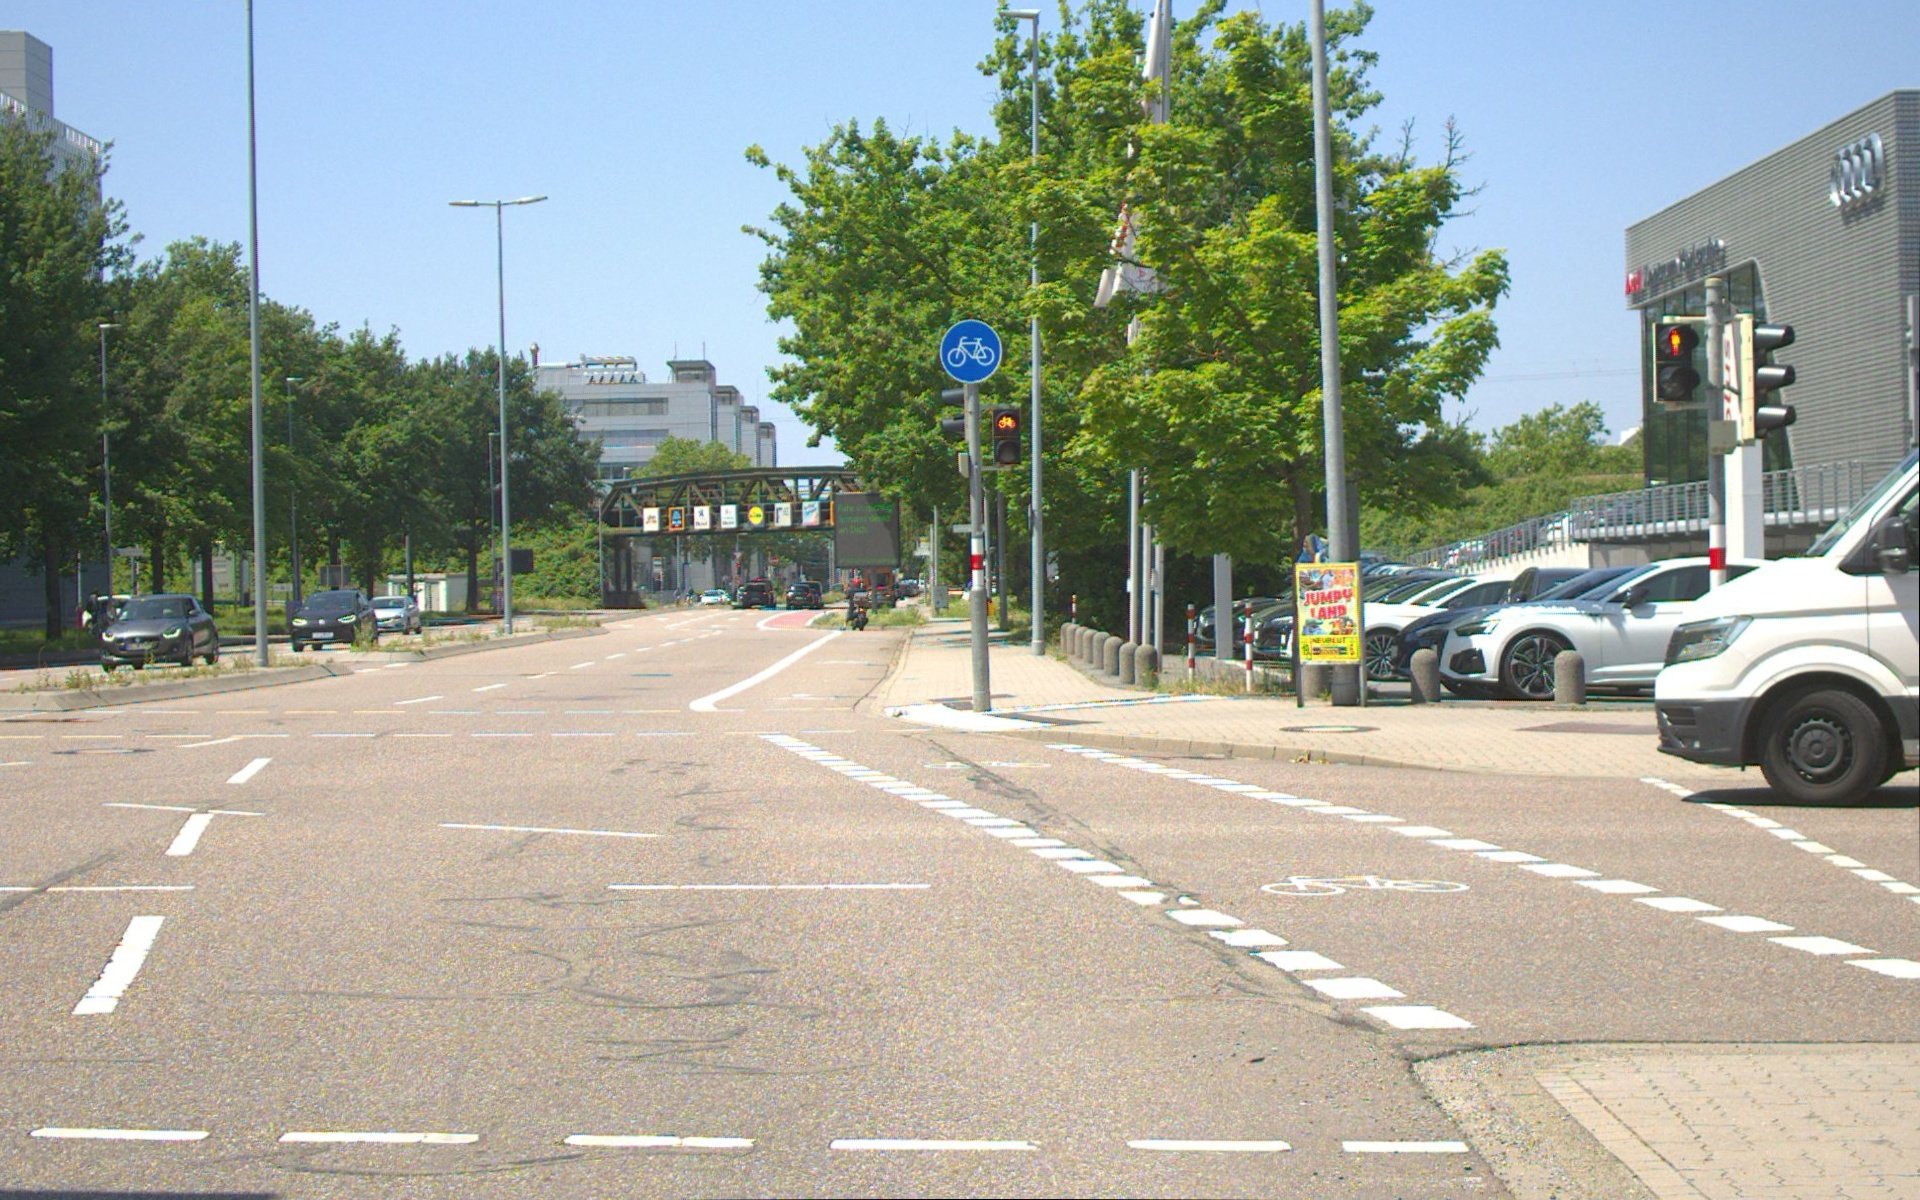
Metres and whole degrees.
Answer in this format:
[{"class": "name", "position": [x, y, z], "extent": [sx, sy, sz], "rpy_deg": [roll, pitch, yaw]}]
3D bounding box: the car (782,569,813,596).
[{"class": "car", "position": [-10.414, -1.112, 220.340], "extent": [1.772, 1.722, 4.000], "rpy_deg": [-1, 0, -1]}]

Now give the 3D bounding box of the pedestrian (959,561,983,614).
[{"class": "pedestrian", "position": [0.317, -0.356, 99.142], "extent": [0.668, 1.505, 0.736], "rpy_deg": [-1, 1, -1]}]

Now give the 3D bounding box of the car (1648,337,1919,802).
[{"class": "car", "position": [6.902, -0.179, 19.243], "extent": [5.787, 2.525, 2.101], "rpy_deg": [0, 0, 17]}]

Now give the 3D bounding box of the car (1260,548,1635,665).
[{"class": "car", "position": [6.553, 0.073, 46.560], "extent": [4.741, 1.452, 2.000], "rpy_deg": [-1, 1, -2]}]

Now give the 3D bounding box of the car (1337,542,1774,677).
[{"class": "car", "position": [6.849, 0.094, 39.945], "extent": [4.741, 1.452, 2.000], "rpy_deg": [-1, 1, 2]}]

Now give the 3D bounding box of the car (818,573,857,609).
[{"class": "car", "position": [-3.745, -0.278, 105.376], "extent": [1.137, 1.038, 2.308], "rpy_deg": [-1, 1, -1]}]

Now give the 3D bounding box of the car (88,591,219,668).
[{"class": "car", "position": [-16.098, 0.568, 68.795], "extent": [1.732, 1.422, 3.706], "rpy_deg": [-3, 0, -1]}]

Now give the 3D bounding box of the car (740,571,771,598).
[{"class": "car", "position": [-13.397, -0.990, 225.644], "extent": [1.772, 1.722, 4.000], "rpy_deg": [-1, 0, -1]}]

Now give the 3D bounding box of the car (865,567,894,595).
[{"class": "car", "position": [-5.153, -1.238, 220.725], "extent": [1.772, 1.722, 4.000], "rpy_deg": [-1, 0, -1]}]

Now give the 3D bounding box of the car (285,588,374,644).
[{"class": "car", "position": [-16.662, 0.398, 90.926], "extent": [1.684, 1.406, 3.665], "rpy_deg": [-1, 0, -1]}]

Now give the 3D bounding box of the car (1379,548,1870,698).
[{"class": "car", "position": [6.862, 0.240, 35.889], "extent": [4.741, 1.452, 2.000], "rpy_deg": [-1, 0, 2]}]

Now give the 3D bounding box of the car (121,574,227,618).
[{"class": "car", "position": [-34.100, -0.182, 149.138], "extent": [4.019, 1.804, 1.998], "rpy_deg": [2, 1, 18]}]

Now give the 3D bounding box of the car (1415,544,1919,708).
[{"class": "car", "position": [6.900, 0.228, 33.275], "extent": [4.741, 1.452, 2.000], "rpy_deg": [-1, 1, 2]}]

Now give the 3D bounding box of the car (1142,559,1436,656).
[{"class": "car", "position": [5.590, 0.117, 58.803], "extent": [4.741, 1.452, 2.000], "rpy_deg": [-2, 1, -2]}]

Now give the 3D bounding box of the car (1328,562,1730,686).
[{"class": "car", "position": [7.202, 0.286, 43.841], "extent": [4.741, 1.452, 2.000], "rpy_deg": [-1, 1, -2]}]

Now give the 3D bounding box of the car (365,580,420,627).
[{"class": "car", "position": [-20.904, 0.112, 126.738], "extent": [1.648, 1.647, 4.164], "rpy_deg": [-1, 1, -5]}]
